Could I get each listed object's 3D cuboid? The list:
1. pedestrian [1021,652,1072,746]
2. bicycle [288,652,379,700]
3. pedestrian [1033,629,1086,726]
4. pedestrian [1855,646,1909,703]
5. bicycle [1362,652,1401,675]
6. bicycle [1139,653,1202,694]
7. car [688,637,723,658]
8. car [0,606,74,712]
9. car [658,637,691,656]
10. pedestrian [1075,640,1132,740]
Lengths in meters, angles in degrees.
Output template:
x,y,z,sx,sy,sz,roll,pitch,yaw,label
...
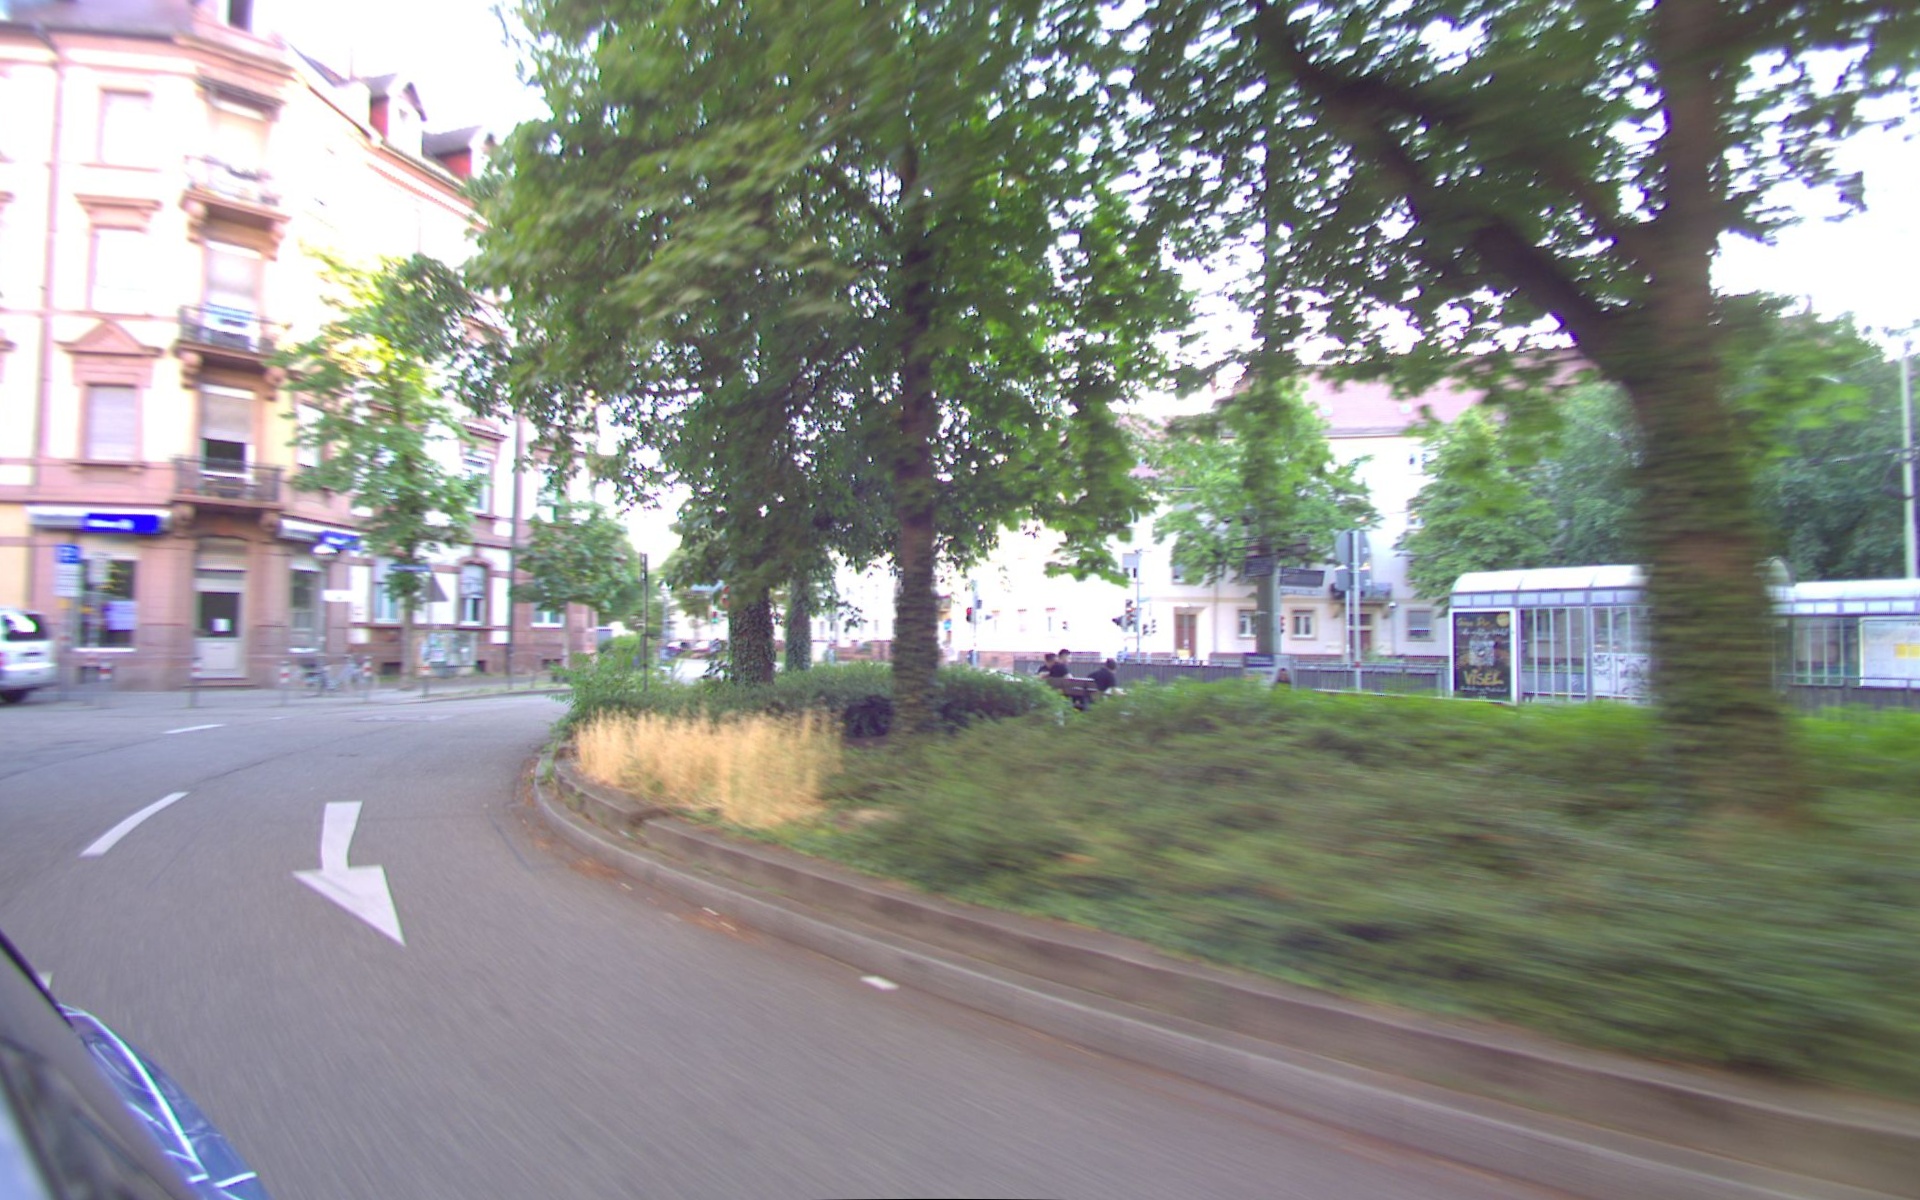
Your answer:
x,y,z,sx,sy,sz,roll,pitch,yaw,label
1.363,1.553,16.018,0.645,1.442,0.619,0,-3,-10,pedestrian
-14.846,1.789,24.027,1.767,1.091,0.562,1,-2,-24,bicycle
1.508,1.166,15.386,0.645,1.442,0.619,0,-3,-10,pedestrian
34.711,2.805,38.124,1.049,2.102,1.010,0,-3,12,pedestrian
22.228,3.354,53.395,1.907,1.160,0.681,-1,-3,23,bicycle
5.706,1.986,27.551,0.537,1.059,1.860,2,-3,-33,bicycle
-23.238,4.328,92.245,1.878,1.864,4.011,2,-3,-33,car
-21.329,1.141,20.332,4.923,2.072,2.052,1,-1,-11,car
-28.144,4.595,99.694,1.878,1.864,4.011,2,-3,-33,car
2.115,1.314,14.965,0.645,1.442,0.619,0,-3,-10,pedestrian
